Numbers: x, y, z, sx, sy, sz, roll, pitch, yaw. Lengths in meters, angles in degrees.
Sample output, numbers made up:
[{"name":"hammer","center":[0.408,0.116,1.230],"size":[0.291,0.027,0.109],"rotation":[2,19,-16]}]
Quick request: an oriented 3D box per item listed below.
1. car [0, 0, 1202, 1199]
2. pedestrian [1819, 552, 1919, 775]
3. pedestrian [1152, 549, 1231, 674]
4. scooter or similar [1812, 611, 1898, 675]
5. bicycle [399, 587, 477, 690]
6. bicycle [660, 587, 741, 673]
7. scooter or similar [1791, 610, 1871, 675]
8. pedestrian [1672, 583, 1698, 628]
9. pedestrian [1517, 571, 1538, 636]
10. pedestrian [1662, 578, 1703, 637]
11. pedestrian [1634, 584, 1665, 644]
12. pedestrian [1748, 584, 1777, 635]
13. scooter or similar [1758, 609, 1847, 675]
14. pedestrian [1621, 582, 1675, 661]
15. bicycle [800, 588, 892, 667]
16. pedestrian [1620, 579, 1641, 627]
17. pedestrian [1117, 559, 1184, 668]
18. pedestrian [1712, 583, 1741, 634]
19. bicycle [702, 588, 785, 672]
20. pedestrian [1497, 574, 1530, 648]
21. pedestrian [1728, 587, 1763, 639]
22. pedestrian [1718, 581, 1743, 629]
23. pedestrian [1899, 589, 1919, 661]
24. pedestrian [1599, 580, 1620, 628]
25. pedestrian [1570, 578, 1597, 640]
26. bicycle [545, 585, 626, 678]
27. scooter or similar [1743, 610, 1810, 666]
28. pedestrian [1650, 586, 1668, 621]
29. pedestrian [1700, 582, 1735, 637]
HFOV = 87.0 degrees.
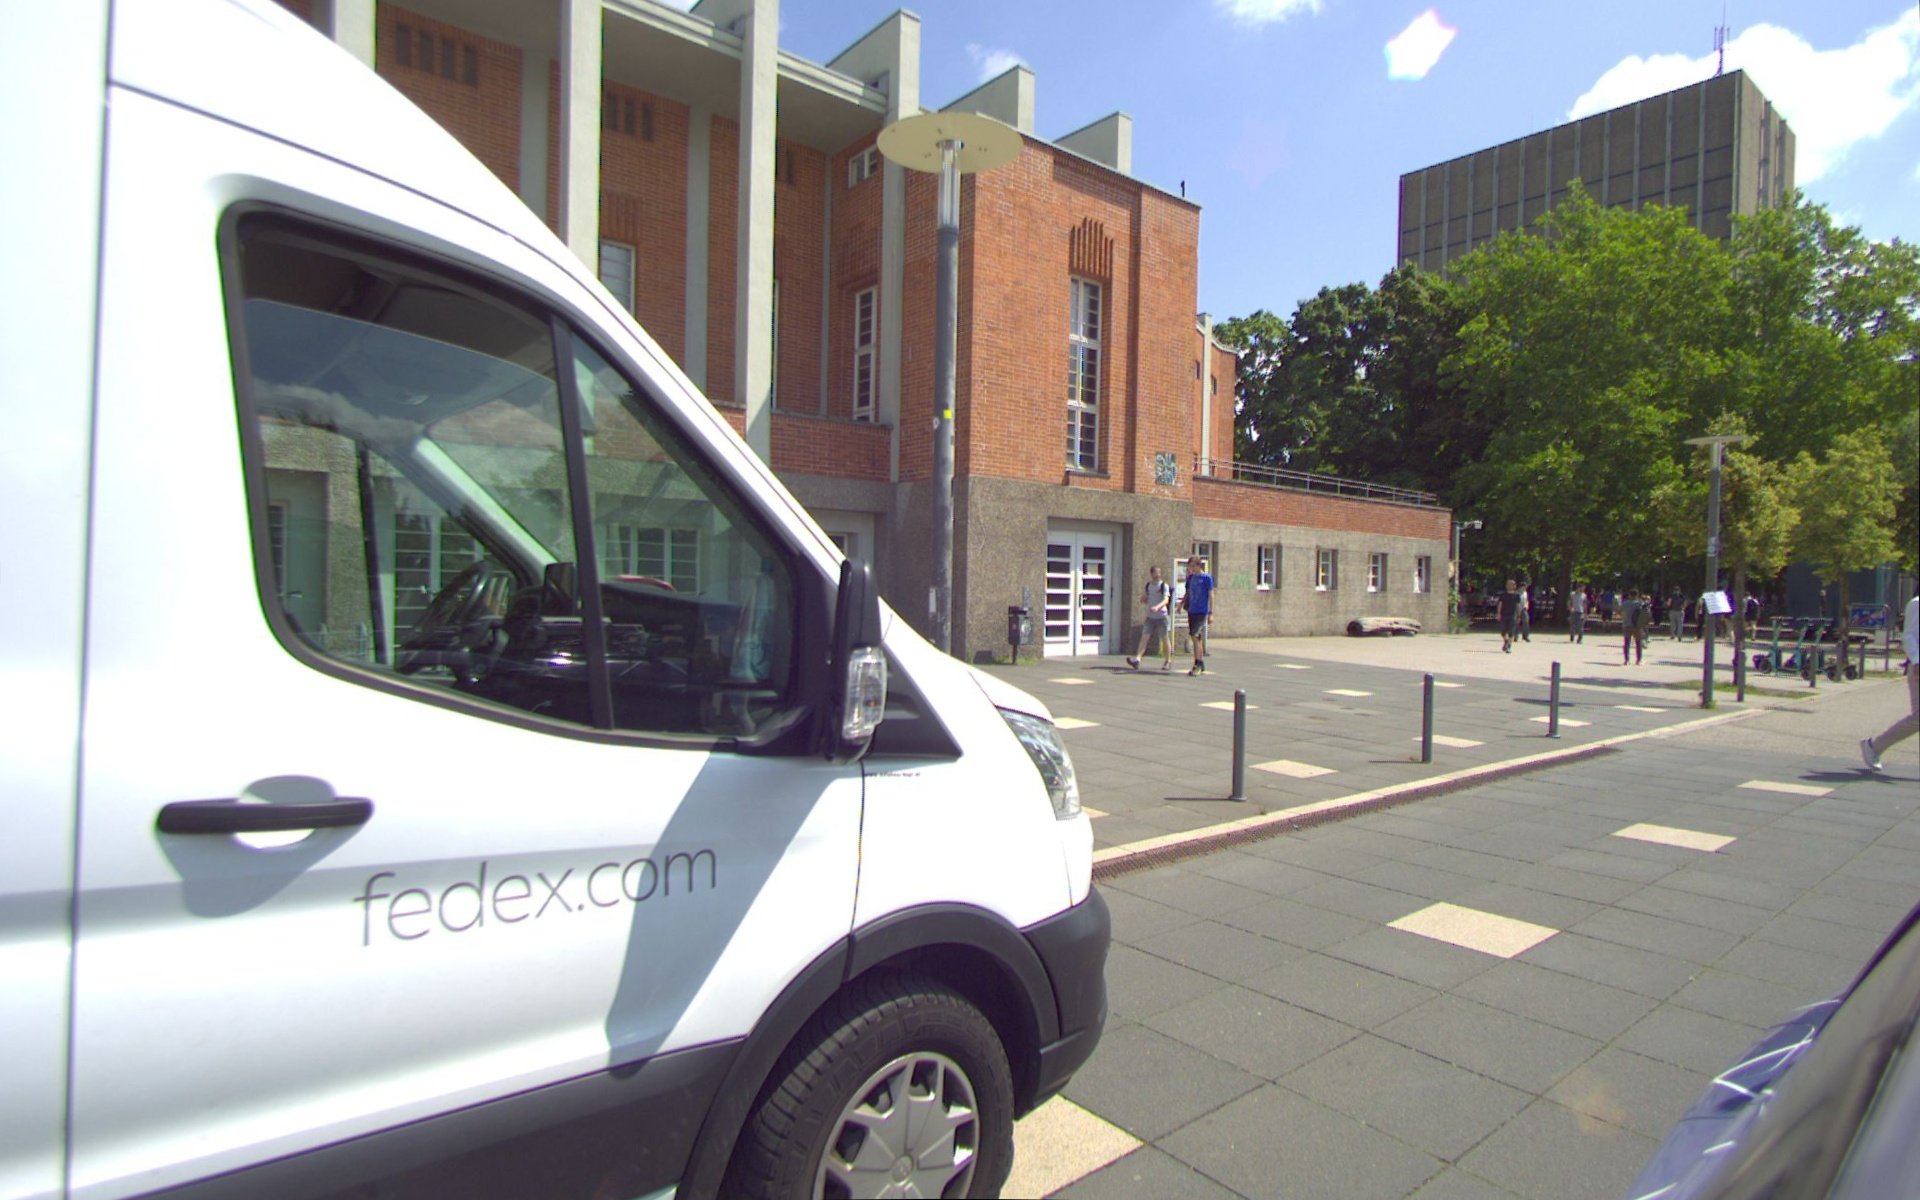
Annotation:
[{"name":"car","center":[-2.258,0.156,1.403],"size":[5.747,2.575,2.063],"rotation":[0,1,-41]},{"name":"pedestrian","center":[8.496,0.538,8.877],"size":[0.897,1.871,1.027],"rotation":[2,2,-8]},{"name":"pedestrian","center":[3.682,0.161,16.071],"size":[1.090,1.913,0.665],"rotation":[0,2,-40]},{"name":"scooter or similar","center":[18.683,0.878,21.165],"size":[0.565,1.248,1.266],"rotation":[2,1,-4]},{"name":"bicycle","center":[-6.407,0.431,12.387],"size":[0.428,1.124,1.915],"rotation":[1,1,-40]},{"name":"bicycle","center":[-3.721,0.397,14.436],"size":[0.428,1.124,1.654],"rotation":[1,1,-40]},{"name":"scooter or similar","center":[17.983,0.866,20.925],"size":[0.565,1.259,1.145],"rotation":[2,1,-4]},{"name":"pedestrian","center":[28.500,0.205,39.801],"size":[0.632,1.729,0.709],"rotation":[2,1,23]},{"name":"pedestrian","center":[17.459,0.122,31.144],"size":[0.561,1.954,0.880],"rotation":[0,-2,30]},{"name":"pedestrian","center":[24.855,0.256,34.824],"size":[0.974,1.970,0.968],"rotation":[2,1,29]},{"name":"pedestrian","center":[20.946,0.420,30.768],"size":[0.663,1.788,0.790],"rotation":[1,-1,28]},{"name":"pedestrian","center":[28.219,0.314,35.592],"size":[0.617,1.761,0.767],"rotation":[2,1,29]},{"name":"scooter or similar","center":[17.223,0.833,20.727],"size":[0.565,1.245,1.358],"rotation":[2,1,-4]},{"name":"pedestrian","center":[15.474,0.463,22.765],"size":[1.062,1.696,0.783],"rotation":[-1,2,-45]},{"name":"bicycle","center":[-1.832,0.404,16.010],"size":[0.448,1.124,1.934],"rotation":[1,1,-40]},{"name":"pedestrian","center":[25.866,0.125,39.036],"size":[0.536,1.816,0.638],"rotation":[2,1,28]},{"name":"pedestrian","center":[3.137,0.206,16.648],"size":[0.985,1.728,0.586],"rotation":[-1,2,-42]},{"name":"pedestrian","center":[27.266,0.306,35.998],"size":[0.596,1.774,0.759],"rotation":[2,1,23]},{"name":"bicycle","center":[-3.201,0.413,14.880],"size":[0.428,1.124,1.698],"rotation":[1,1,-40]},{"name":"pedestrian","center":[13.774,0.264,25.174],"size":[0.583,1.799,0.789],"rotation":[2,2,36]},{"name":"pedestrian","center":[26.499,0.417,34.136],"size":[0.744,1.694,0.837],"rotation":[2,1,29]},{"name":"pedestrian","center":[30.784,0.182,40.453],"size":[0.633,1.893,0.533],"rotation":[2,1,25]},{"name":"pedestrian","center":[24.597,0.642,25.443],"size":[0.967,1.809,1.092],"rotation":[2,1,11]},{"name":"pedestrian","center":[25.345,0.156,39.486],"size":[0.561,1.816,0.638],"rotation":[2,1,28]},{"name":"pedestrian","center":[19.628,0.278,31.876],"size":[0.663,1.911,0.963],"rotation":[0,-2,28]},{"name":"bicycle","center":[-5.014,0.387,13.495],"size":[0.428,1.124,1.801],"rotation":[1,1,-40]},{"name":"scooter or similar","center":[18.380,0.851,22.779],"size":[1.447,1.194,0.577],"rotation":[2,1,-26]},{"name":"pedestrian","center":[32.253,0.163,46.698],"size":[0.636,1.577,0.567],"rotation":[2,1,36]},{"name":"pedestrian","center":[25.718,0.321,34.380],"size":[0.774,1.813,0.708],"rotation":[2,1,28]}]
